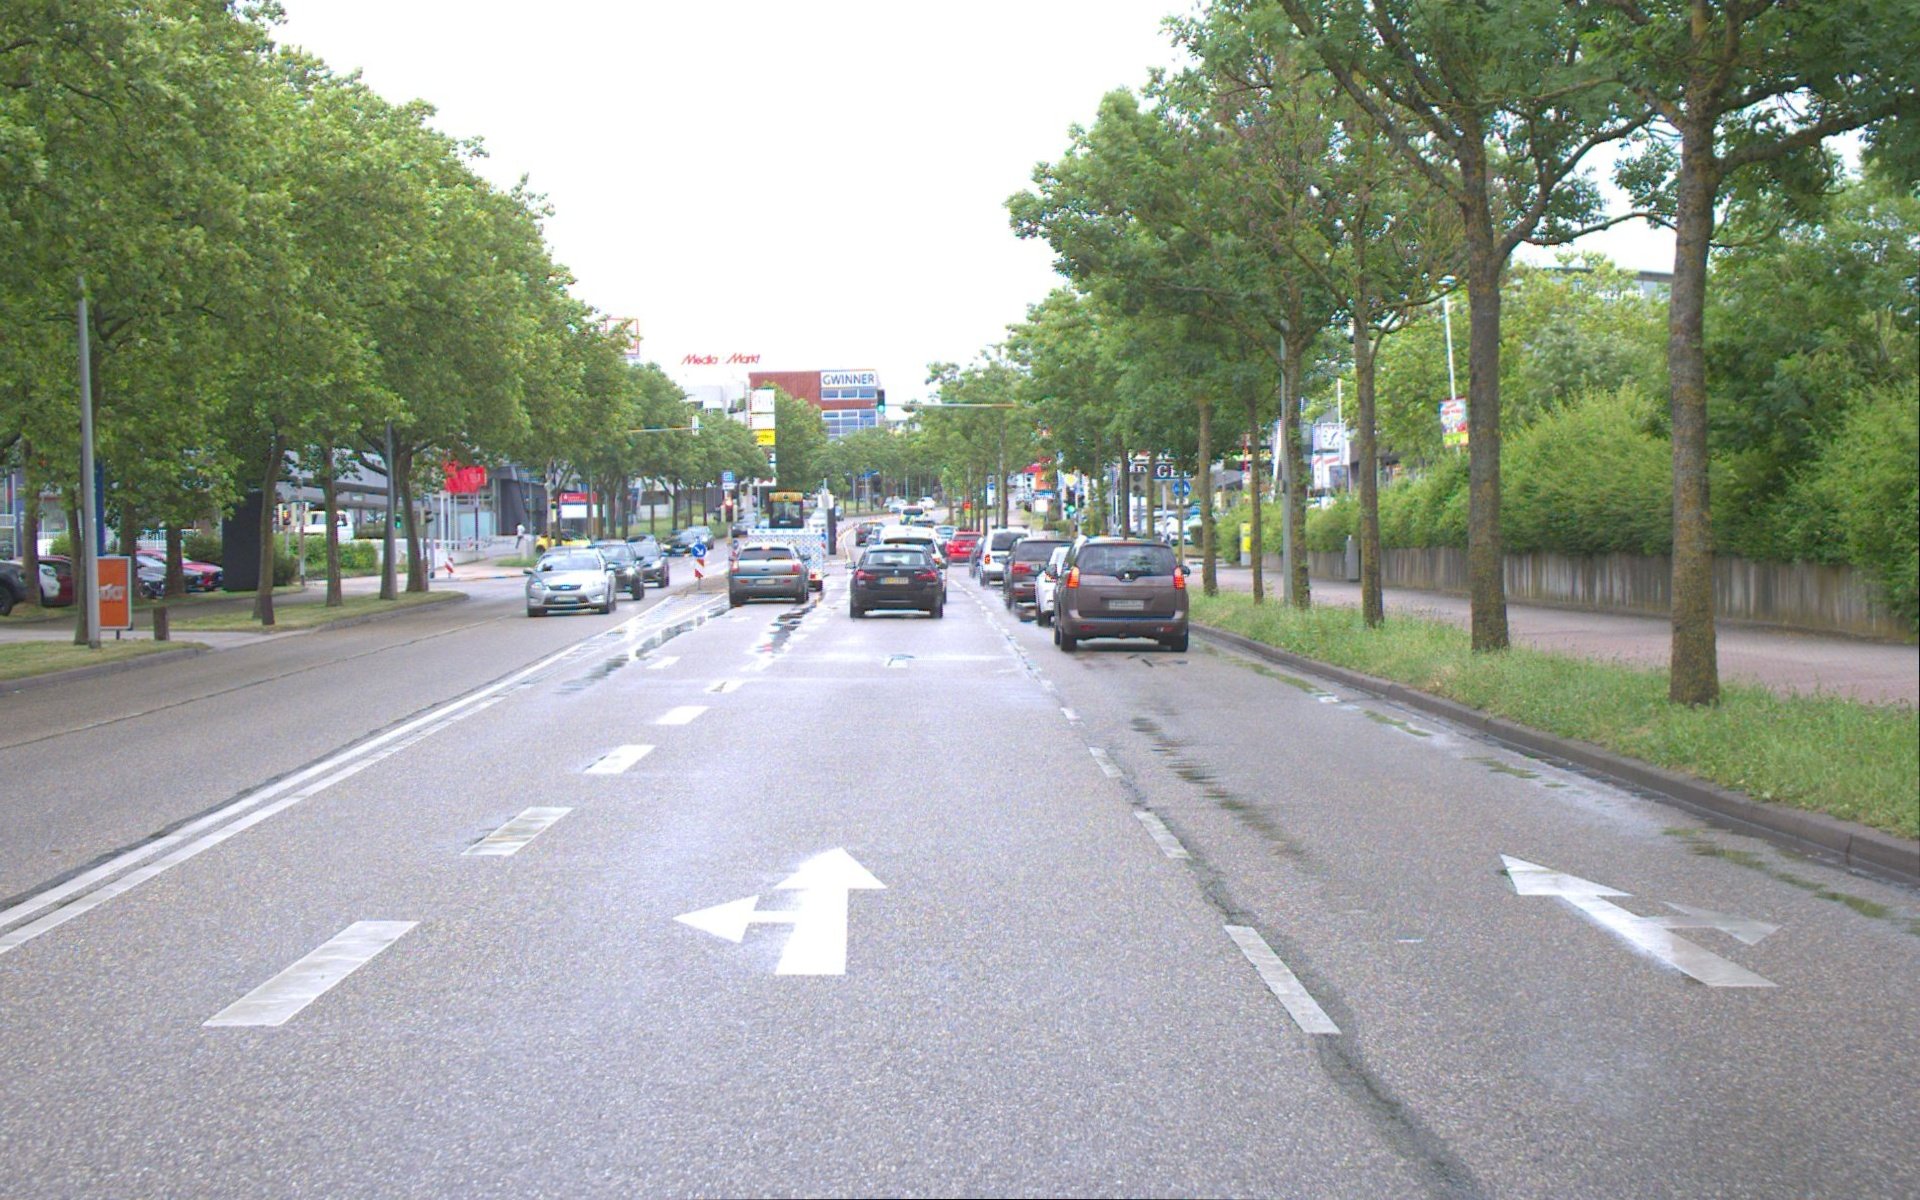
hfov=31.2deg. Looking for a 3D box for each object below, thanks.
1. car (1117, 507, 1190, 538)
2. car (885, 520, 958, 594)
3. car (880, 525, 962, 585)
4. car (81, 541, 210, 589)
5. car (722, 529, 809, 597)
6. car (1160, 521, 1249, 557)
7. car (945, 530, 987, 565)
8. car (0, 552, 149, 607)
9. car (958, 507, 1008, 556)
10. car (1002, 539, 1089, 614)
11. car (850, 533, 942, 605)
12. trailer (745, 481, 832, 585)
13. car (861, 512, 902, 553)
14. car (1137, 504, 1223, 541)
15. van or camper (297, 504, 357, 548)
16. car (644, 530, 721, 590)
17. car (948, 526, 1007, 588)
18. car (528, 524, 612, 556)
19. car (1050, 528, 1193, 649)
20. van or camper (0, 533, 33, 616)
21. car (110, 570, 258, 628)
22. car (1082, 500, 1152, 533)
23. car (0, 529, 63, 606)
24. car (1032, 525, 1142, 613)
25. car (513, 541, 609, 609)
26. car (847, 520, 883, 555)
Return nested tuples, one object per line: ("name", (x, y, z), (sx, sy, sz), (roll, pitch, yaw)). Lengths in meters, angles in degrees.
("car", (10.026, -4.015, 178.231), (3.589, 1.530, 1.643), (-2, 2, -40))
("car", (-1.113, -1.209, 97.184), (1.993, 2.007, 4.000), (1, 0, -1))
("car", (-0.976, -1.099, 83.332), (1.682, 1.372, 4.001), (-1, 1, -5))
("car", (-27.267, -1.179, 115.175), (3.978, 1.484, 1.879), (-1, 1, -6))
("car", (-4.783, -0.935, 84.895), (1.907, 1.573, 4.881), (-2, 1, -1))
("car", (11.415, -2.862, 160.147), (1.930, 1.571, 4.278), (0, 2, 40))
("car", (0.233, -2.221, 145.001), (1.695, 1.438, 3.989), (-1, 1, -1))
("car", (-26.359, -0.610, 101.168), (4.553, 1.590, 2.000), (0, 1, -23))
("car", (0.811, -2.401, 121.470), (1.685, 1.678, 3.403), (1, 0, 0))
("car", (1.910, -0.566, 77.988), (1.801, 1.581, 4.451), (1, 1, -1))
("car", (-1.310, -0.654, 69.194), (1.781, 1.393, 4.001), (0, 1, -2))
("trailer", (-4.970, -1.935, 100.054), (2.372, 2.887, 5.546), (-2, 1, -2))
("car", (-3.939, -3.407, 173.898), (1.993, 2.007, 4.000), (1, 0, 0))
("car", (11.041, -3.896, 172.497), (4.016, 1.657, 1.982), (-5, 3, -40))
("van or camper", (-28.922, -3.368, 157.186), (1.993, 1.960, 4.789), (1, 0, -1))
("car", (-7.555, -1.102, 93.985), (1.762, 1.526, 3.858), (-3, 1, -1))
("car", (0.556, -1.369, 108.479), (1.782, 1.860, 4.000), (-1, 1, 0))
("car", (-20.286, -3.137, 178.917), (3.994, 1.546, 1.896), (-1, 2, 33))
("car", (2.250, -0.203, 48.885), (1.726, 1.619, 4.471), (-1, 1, -1))
("van or camper", (-23.223, -0.506, 75.281), (5.282, 1.815, 2.267), (-2, 1, -26))
("car", (-24.608, -0.049, 109.044), (4.217, 1.590, 2.000), (-3, 2, -24))
("car", (9.460, -5.062, 207.714), (4.111, 1.898, 1.800), (-2, 2, 1))
("car", (-23.946, -0.754, 82.420), (4.452, 1.809, 2.000), (-2, 1, -23))
("car", (2.321, -0.603, 63.756), (1.801, 1.539, 4.620), (1, 1, -1))
("car", (-8.988, -0.582, 77.692), (1.993, 1.424, 4.686), (-2, 1, -5))
("car", (-5.520, -3.656, 200.935), (1.993, 2.007, 4.000), (1, 0, 0))
